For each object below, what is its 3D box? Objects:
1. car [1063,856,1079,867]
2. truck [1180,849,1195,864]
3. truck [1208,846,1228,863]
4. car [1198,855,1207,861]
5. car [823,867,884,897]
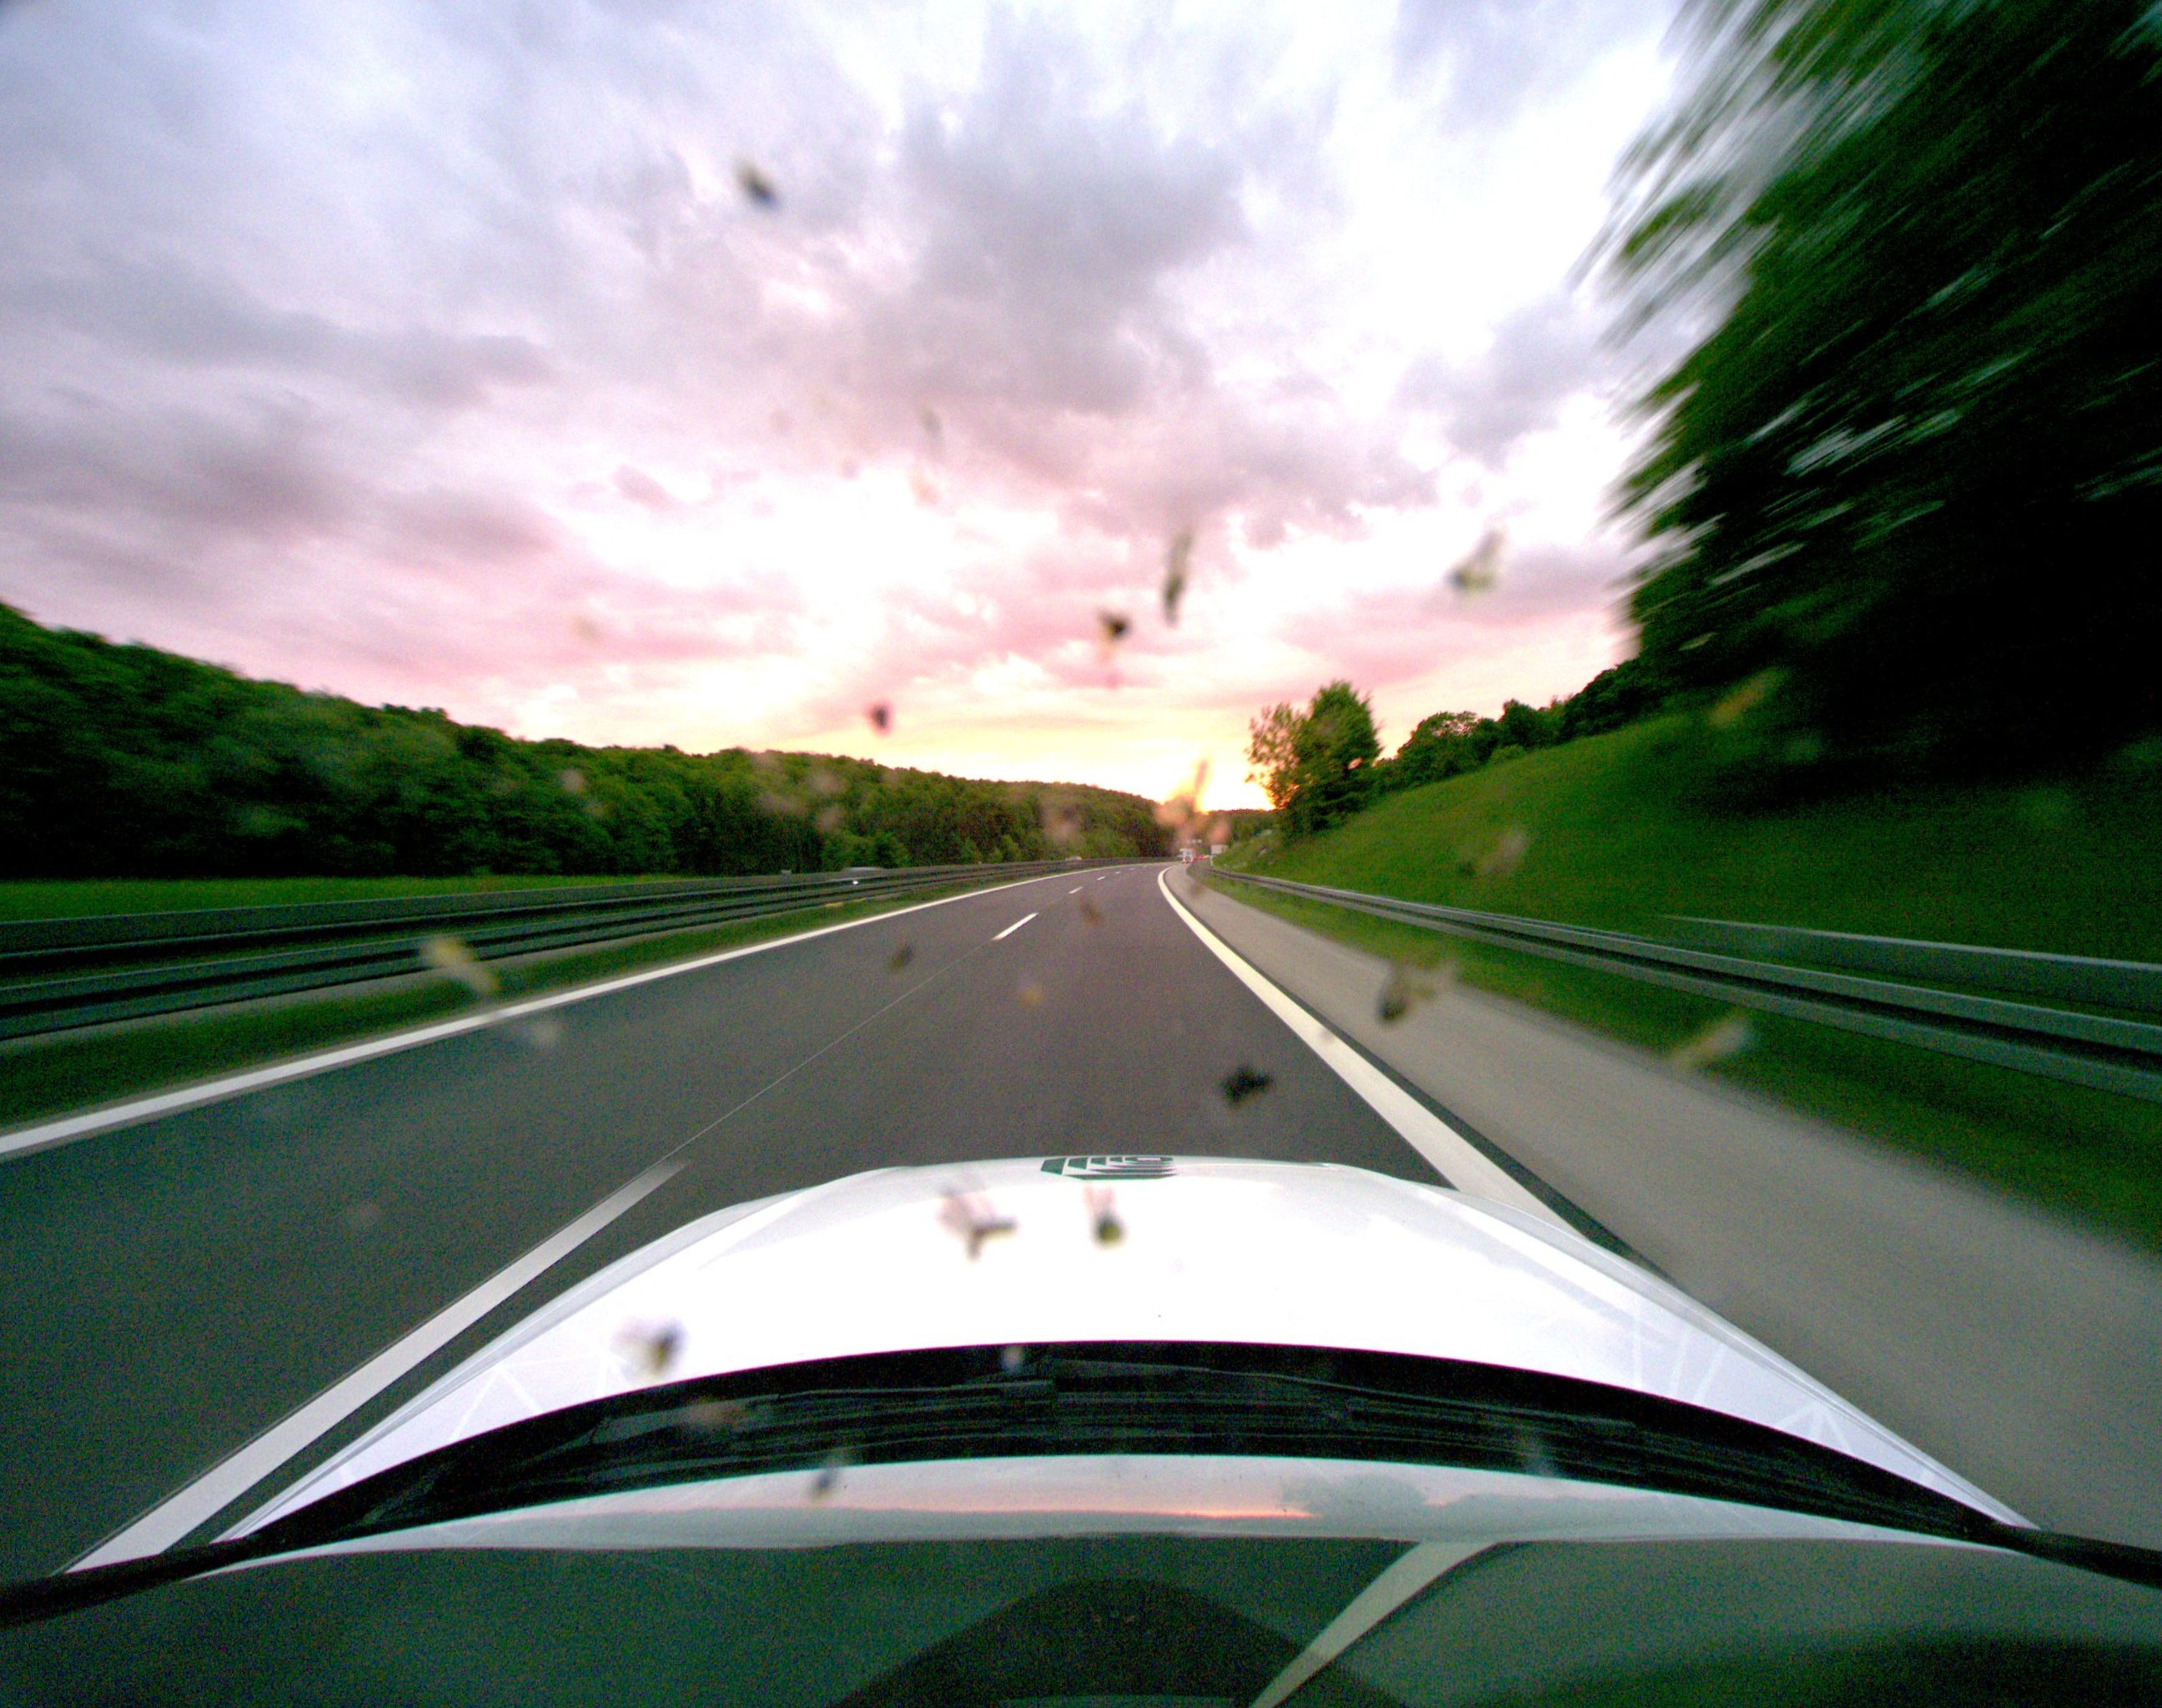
[{"bbox_3d":[-1.585,1.248,128.935,1.742,1.640,4.490,-2,0,10],"label":"car"},{"bbox_3d":[20.623,0.463,157.600,2.260,2.664,5.255,-3,1,13],"label":"truck"},{"bbox_3d":[36.331,0.041,215.570,3.930,4.287,14.375,-2,0,13],"label":"truck"},{"bbox_3d":[32.124,1.050,215.526,1.979,1.517,4.016,-2,0,15],"label":"car"},{"bbox_3d":[-12.718,1.541,45.829,1.790,1.442,4.683,-2,0,4],"label":"car"}]
